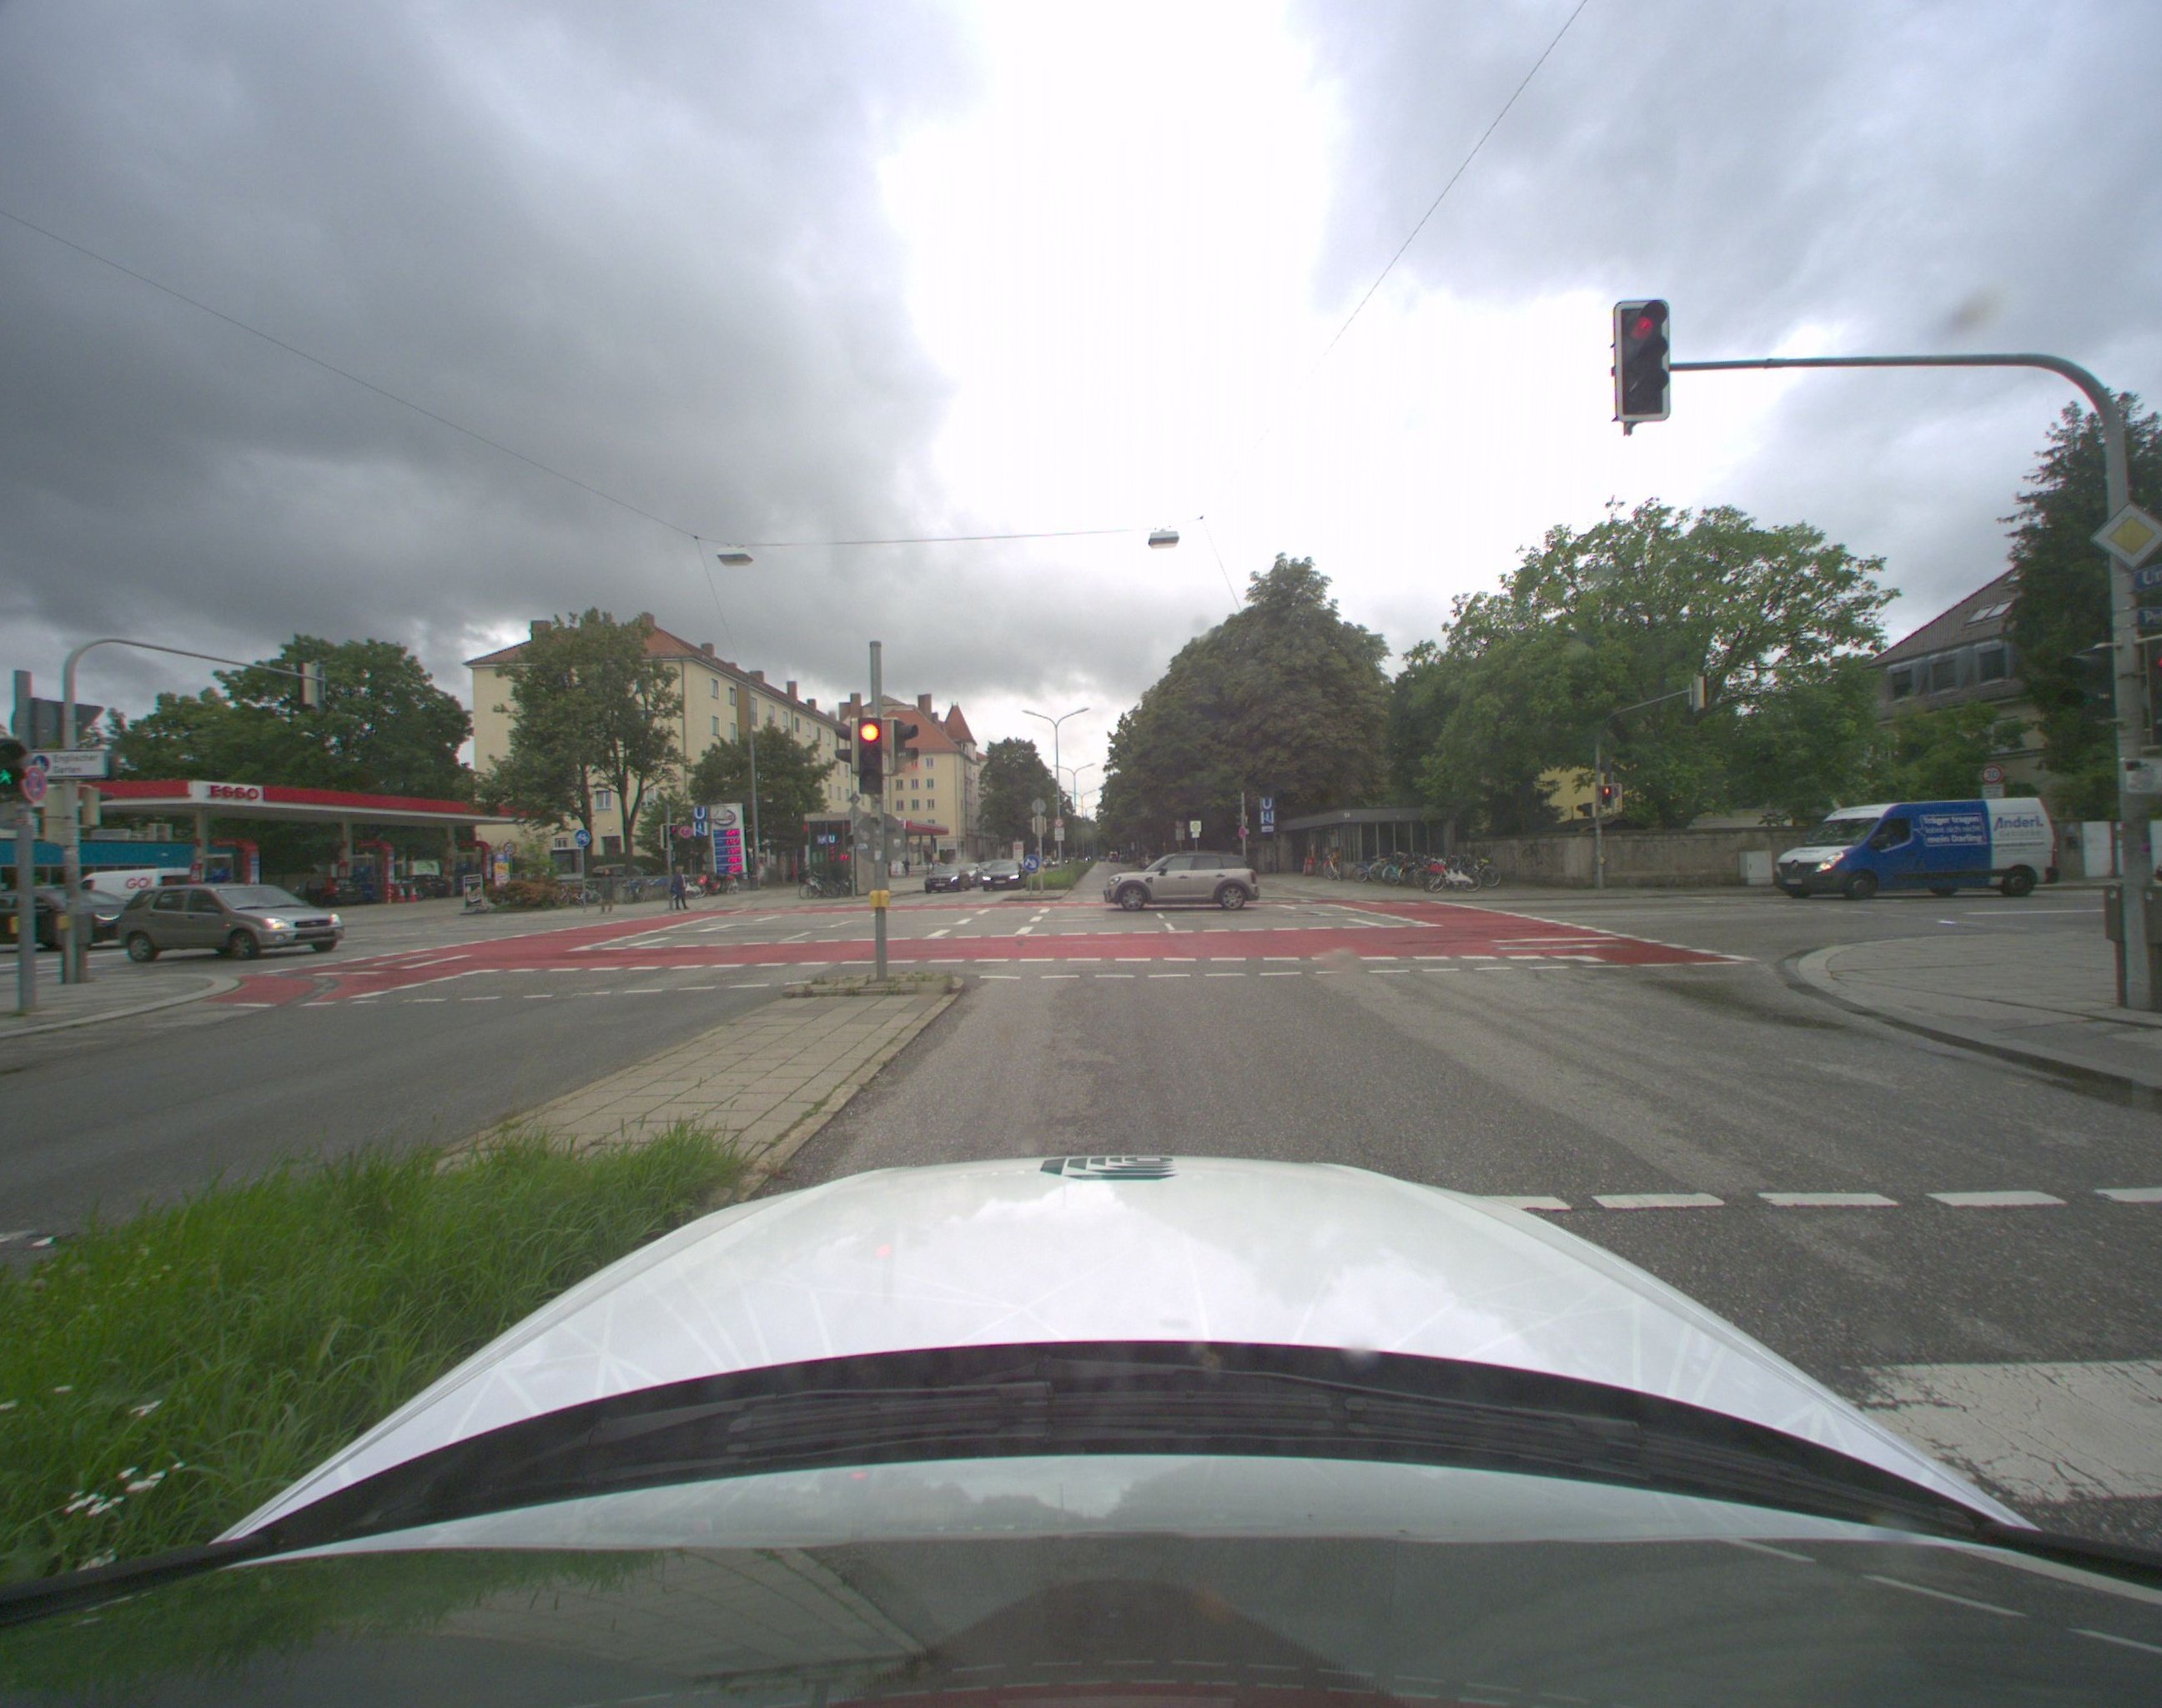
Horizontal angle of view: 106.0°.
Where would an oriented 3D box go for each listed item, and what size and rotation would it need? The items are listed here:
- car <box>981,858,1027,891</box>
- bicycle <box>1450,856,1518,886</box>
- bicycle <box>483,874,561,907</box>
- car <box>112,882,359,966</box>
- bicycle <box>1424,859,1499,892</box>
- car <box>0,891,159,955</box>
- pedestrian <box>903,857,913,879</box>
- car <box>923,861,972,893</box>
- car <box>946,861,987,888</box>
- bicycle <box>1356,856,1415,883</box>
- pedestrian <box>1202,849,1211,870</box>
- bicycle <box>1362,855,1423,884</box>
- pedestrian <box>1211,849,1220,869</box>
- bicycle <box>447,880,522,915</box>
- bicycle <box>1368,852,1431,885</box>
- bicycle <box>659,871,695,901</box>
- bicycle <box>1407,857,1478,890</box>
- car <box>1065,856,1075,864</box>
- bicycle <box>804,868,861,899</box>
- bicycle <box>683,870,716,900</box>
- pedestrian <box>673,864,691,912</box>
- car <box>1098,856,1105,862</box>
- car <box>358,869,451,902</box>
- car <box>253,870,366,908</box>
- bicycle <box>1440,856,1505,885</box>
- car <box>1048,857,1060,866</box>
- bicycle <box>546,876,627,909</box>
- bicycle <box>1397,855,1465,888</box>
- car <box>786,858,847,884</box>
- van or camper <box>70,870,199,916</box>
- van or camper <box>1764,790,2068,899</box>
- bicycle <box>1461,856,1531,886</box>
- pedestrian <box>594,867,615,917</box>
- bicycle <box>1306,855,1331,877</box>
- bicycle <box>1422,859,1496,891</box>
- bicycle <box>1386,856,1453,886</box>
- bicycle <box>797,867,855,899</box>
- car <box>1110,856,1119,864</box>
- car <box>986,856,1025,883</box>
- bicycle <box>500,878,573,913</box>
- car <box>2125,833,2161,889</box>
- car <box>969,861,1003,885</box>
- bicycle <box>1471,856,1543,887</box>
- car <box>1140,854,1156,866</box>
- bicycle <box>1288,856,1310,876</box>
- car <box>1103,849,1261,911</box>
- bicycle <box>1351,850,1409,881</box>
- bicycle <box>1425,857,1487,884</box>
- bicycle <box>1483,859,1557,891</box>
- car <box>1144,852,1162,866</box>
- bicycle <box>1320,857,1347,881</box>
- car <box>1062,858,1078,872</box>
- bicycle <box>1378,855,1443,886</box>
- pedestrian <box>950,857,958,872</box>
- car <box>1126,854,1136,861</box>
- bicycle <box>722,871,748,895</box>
[{"bbox_3d":[-3.795,0.977,40.609,1.753,1.493,4.001,-2,0,1],"label":"car"},{"bbox_3d":[14.859,0.620,30.088,2.130,1.014,0.636,-2,0,9],"label":"bicycle"},{"bbox_3d":[-21.886,1.422,31.939,2.394,1.251,0.789,0,-1,-10],"label":"bicycle"},{"bbox_3d":[-17.618,1.432,17.072,3.601,1.517,1.667,-2,0,5],"label":"car"},{"bbox_3d":[12.512,0.714,26.845,2.130,1.014,0.604,-2,0,9],"label":"bicycle"},{"bbox_3d":[-25.768,1.726,20.399,3.532,1.412,1.666,-2,0,3],"label":"car"},{"bbox_3d":[-15.903,1.303,74.949,0.727,2.014,0.835,0,-1,1],"label":"pedestrian"},{"bbox_3d":[-6.827,1.138,41.940,1.753,1.460,4.001,-2,0,1],"label":"car"},{"bbox_3d":[-6.783,1.198,48.731,1.753,1.460,4.001,-2,0,1],"label":"car"},{"bbox_3d":[12.214,0.611,32.704,2.130,1.014,0.604,-2,0,9],"label":"bicycle"},{"bbox_3d":[10.454,0.438,67.997,0.674,1.682,0.684,-2,0,7],"label":"pedestrian"},{"bbox_3d":[12.160,0.622,31.824,2.130,1.062,0.604,-2,0,9],"label":"bicycle"},{"bbox_3d":[11.194,0.404,67.958,0.674,1.682,0.684,-2,0,7],"label":"pedestrian"},{"bbox_3d":[-22.832,1.652,31.228,2.179,1.236,0.764,-2,0,-8],"label":"bicycle"},{"bbox_3d":[12.169,0.558,31.122,2.130,1.178,0.604,-2,0,9],"label":"bicycle"},{"bbox_3d":[-17.866,1.405,36.056,0.607,1.236,2.183,-2,0,-5],"label":"bicycle"},{"bbox_3d":[12.530,0.684,28.276,2.130,1.071,0.604,-2,0,9],"label":"bicycle"},{"bbox_3d":[-2.507,1.329,179.395,1.945,1.823,4.002,-2,0,2],"label":"car"},{"bbox_3d":[-10.979,1.301,36.044,2.276,1.304,0.694,-2,0,2],"label":"bicycle"},{"bbox_3d":[-17.246,1.391,36.865,0.607,1.236,2.183,-2,0,-5],"label":"bicycle"},{"bbox_3d":[-14.511,1.230,29.627,0.536,1.695,0.572,-2,0,-24],"label":"pedestrian"},{"bbox_3d":[5.348,1.284,210.827,1.850,1.684,4.001,-2,0,1],"label":"car"},{"bbox_3d":[-40.314,1.875,48.596,3.973,1.784,1.858,-2,0,1],"label":"car"},{"bbox_3d":[-39.679,1.792,41.951,3.973,1.784,1.858,-2,0,1],"label":"car"},{"bbox_3d":[14.828,0.625,30.874,2.130,1.014,0.636,-2,0,9],"label":"bicycle"},{"bbox_3d":[-4.540,1.286,138.296,1.753,1.460,4.001,-2,0,1],"label":"car"},{"bbox_3d":[-19.592,1.509,32.337,2.720,1.251,0.786,0,-1,-29],"label":"bicycle"},{"bbox_3d":[12.408,0.607,28.934,2.130,1.101,0.604,-2,0,9],"label":"bicycle"},{"bbox_3d":[-20.172,1.271,62.299,3.976,1.838,1.879,-2,0,-2],"label":"car"},{"bbox_3d":[-51.883,2.101,44.718,4.526,2.323,1.917,-2,0,-3],"label":"van or camper"},{"bbox_3d":[21.149,-0.233,20.820,5.532,2.469,2.067,-2,0,1],"label":"van or camper"},{"bbox_3d":[14.918,0.614,29.292,2.130,1.014,0.636,-2,0,9],"label":"bicycle"},{"bbox_3d":[-16.694,1.313,28.537,0.593,1.695,0.571,-1,0,-29],"label":"pedestrian"},{"bbox_3d":[11.256,0.560,38.694,0.555,1.014,2.015,-2,0,0],"label":"bicycle"},{"bbox_3d":[12.728,0.699,27.466,2.130,1.014,0.636,-2,0,9],"label":"bicycle"},{"bbox_3d":[12.300,0.631,29.651,2.130,1.014,0.604,-2,0,9],"label":"bicycle"},{"bbox_3d":[-11.027,1.261,35.265,2.262,1.304,0.704,-2,0,2],"label":"bicycle"},{"bbox_3d":[7.519,1.309,182.767,1.916,1.684,4.001,-2,0,1],"label":"car"},{"bbox_3d":[-4.438,0.882,48.390,1.753,1.493,4.001,-2,0,1],"label":"car"},{"bbox_3d":[-20.898,1.581,31.280,2.180,1.236,0.763,-2,0,-10],"label":"bicycle"},{"bbox_3d":[29.308,0.124,20.395,3.818,1.397,1.699,-2,0,7],"label":"car"},{"bbox_3d":[-6.455,1.262,55.637,1.753,1.460,4.001,-2,0,1],"label":"car"},{"bbox_3d":[14.890,0.606,28.525,2.130,1.014,0.636,-2,0,9],"label":"bicycle"},{"bbox_3d":[8.145,0.738,99.734,1.737,1.363,3.807,-2,0,1],"label":"car"},{"bbox_3d":[11.179,0.594,41.874,0.555,1.014,2.015,-2,0,0],"label":"bicycle"},{"bbox_3d":[2.705,0.691,22.490,4.154,1.514,1.695,-2,0,0],"label":"car"},{"bbox_3d":[12.258,0.476,33.420,2.130,1.218,0.604,-2,0,9],"label":"bicycle"},{"bbox_3d":[14.931,0.642,32.454,2.130,1.014,0.636,-2,0,9],"label":"bicycle"},{"bbox_3d":[14.922,0.700,27.726,2.130,1.014,0.636,-2,0,9],"label":"bicycle"},{"bbox_3d":[7.932,0.535,89.705,1.737,1.363,3.807,-2,0,1],"label":"car"},{"bbox_3d":[11.128,0.648,35.961,0.555,1.014,2.015,-2,0,0],"label":"bicycle"},{"bbox_3d":[-1.144,1.114,85.506,1.463,1.399,3.701,-2,0,1],"label":"car"},{"bbox_3d":[12.280,0.600,30.381,2.130,1.086,0.604,-2,0,9],"label":"bicycle"},{"bbox_3d":[-13.771,1.112,88.111,0.693,1.638,0.738,-2,0,1],"label":"pedestrian"},{"bbox_3d":[9.820,0.707,159.569,1.737,1.427,3.900,-2,0,1],"label":"car"},{"bbox_3d":[-17.410,1.437,41.024,0.607,1.145,1.962,-2,0,-5],"label":"bicycle"}]
